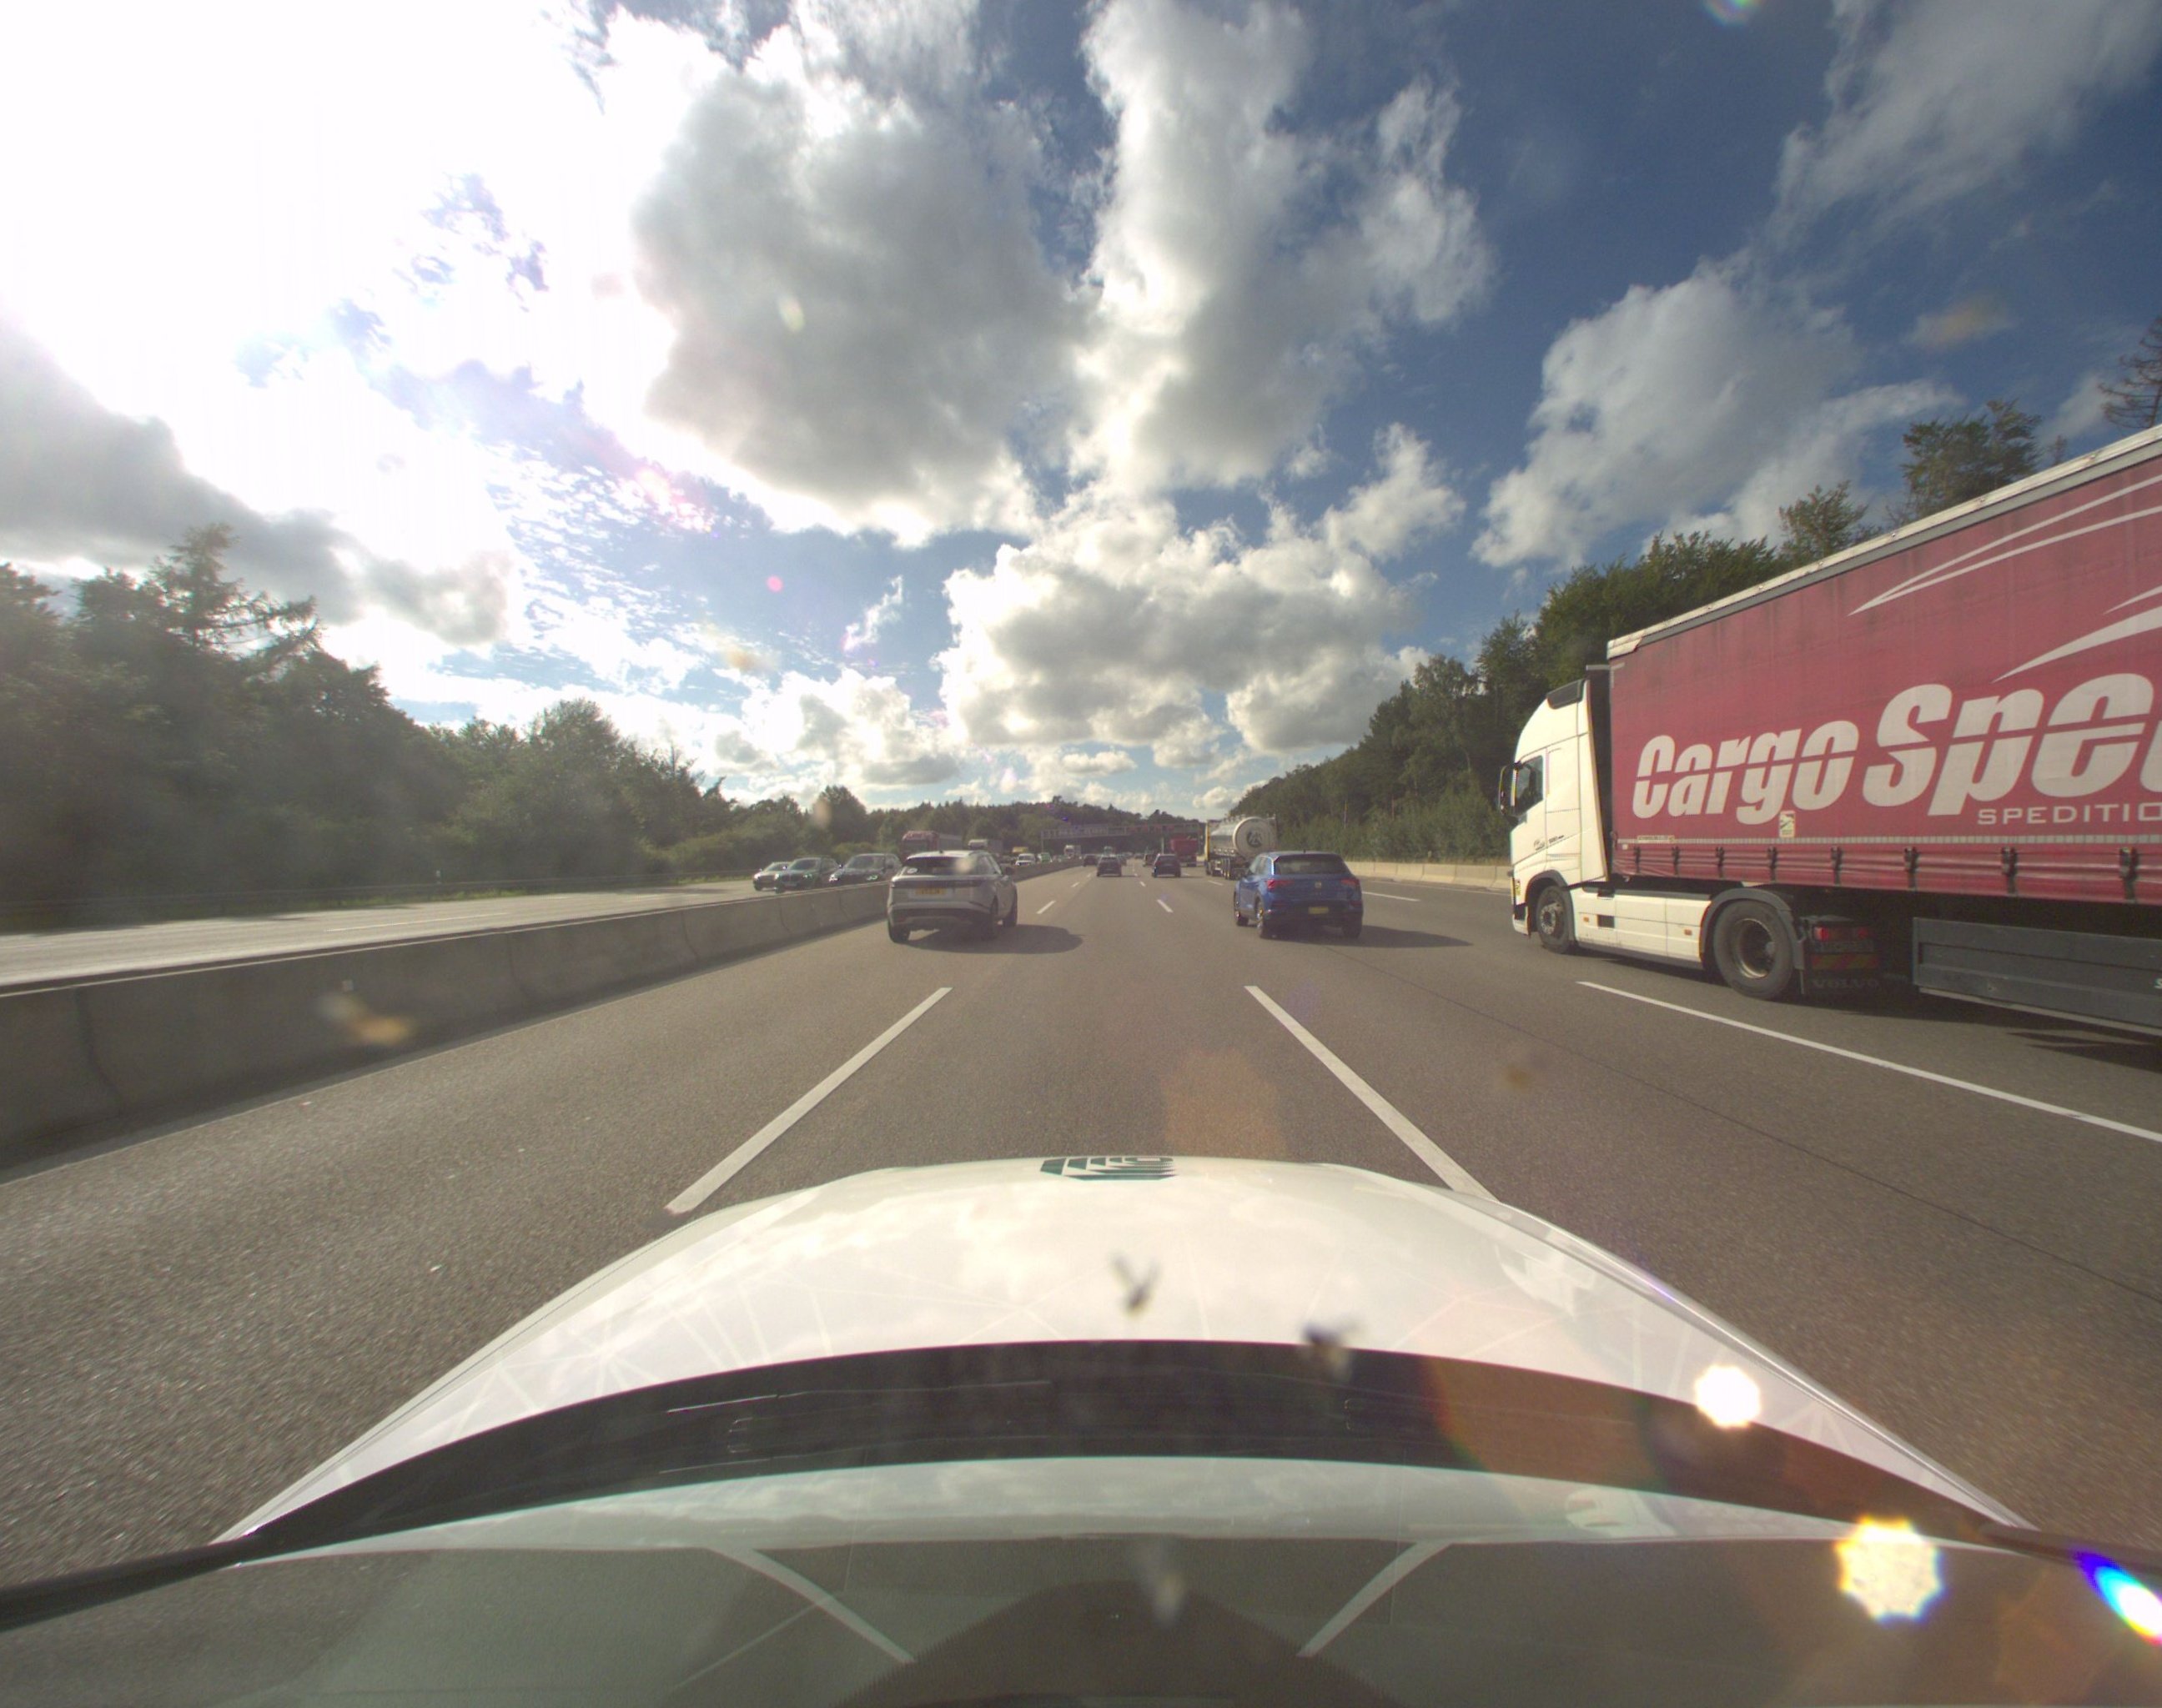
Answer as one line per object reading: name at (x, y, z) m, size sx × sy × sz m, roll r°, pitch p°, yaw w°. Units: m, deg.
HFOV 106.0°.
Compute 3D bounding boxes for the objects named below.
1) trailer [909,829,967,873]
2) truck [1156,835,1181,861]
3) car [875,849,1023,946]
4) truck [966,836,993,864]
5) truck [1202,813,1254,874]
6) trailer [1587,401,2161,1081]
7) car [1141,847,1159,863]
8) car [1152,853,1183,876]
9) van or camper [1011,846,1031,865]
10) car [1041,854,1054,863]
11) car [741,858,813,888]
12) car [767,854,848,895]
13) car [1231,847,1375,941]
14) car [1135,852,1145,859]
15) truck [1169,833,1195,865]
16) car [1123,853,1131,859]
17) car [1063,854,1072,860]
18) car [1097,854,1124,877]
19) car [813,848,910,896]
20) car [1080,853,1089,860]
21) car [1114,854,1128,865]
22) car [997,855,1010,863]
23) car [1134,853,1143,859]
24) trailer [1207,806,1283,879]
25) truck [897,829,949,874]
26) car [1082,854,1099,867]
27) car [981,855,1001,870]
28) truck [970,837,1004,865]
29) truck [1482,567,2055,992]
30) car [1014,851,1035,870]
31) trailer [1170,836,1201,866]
trailer at (-13.762, -0.278, 79.583) m, size 2.954 × 3.858 × 11.291 m, roll -1°, pitch 0°, yaw 3°
truck at (14.143, -0.928, 131.953) m, size 3.107 × 3.935 × 10.414 m, roll -1°, pitch 0°, yaw 1°
car at (-2.421, 0.728, 16.428) m, size 1.999 × 1.616 × 5.302 m, roll -1°, pitch 0°, yaw 1°
truck at (-15.236, -0.543, 122.583) m, size 2.807 × 4.094 × 6.068 m, roll -1°, pitch 0°, yaw 4°
truck at (9.868, -0.675, 55.236) m, size 2.638 × 3.823 × 6.086 m, roll -2°, pitch 0°, yaw 3°
trailer at (7.789, -0.687, 3.745) m, size 2.763 × 4.045 × 13.719 m, roll -1°, pitch 0°, yaw 2°
car at (8.150, 0.070, 96.104) m, size 1.887 × 1.856 × 4.101 m, roll 0°, pitch 0°, yaw 1°
car at (5.668, 0.669, 53.662) m, size 1.814 × 1.457 × 4.004 m, roll -1°, pitch 0°, yaw 3°
van or camper at (-9.893, 0.227, 133.885) m, size 2.364 × 2.891 × 6.511 m, roll -2°, pitch 0°, yaw 3°
car at (-5.730, 0.697, 138.964) m, size 1.776 × 1.470 × 4.335 m, roll -1°, pitch 0°, yaw 4°
car at (-15.995, 0.963, 43.056) m, size 1.820 × 1.414 × 4.678 m, roll -1°, pitch 0°, yaw 3°
car at (-12.215, 0.863, 36.724) m, size 1.987 × 1.664 × 4.688 m, roll -1°, pitch 0°, yaw 1°
car at (4.085, 0.665, 15.737) m, size 1.765 × 1.530 × 4.461 m, roll -1°, pitch 0°, yaw 3°
car at (12.544, 0.326, 173.297) m, size 1.935 × 1.457 × 4.000 m, roll -2°, pitch 0°, yaw 0°
truck at (12.022, -0.590, 97.257) m, size 2.698 × 3.718 × 5.823 m, roll -1°, pitch 0°, yaw 4°
car at (12.365, 0.636, 221.144) m, size 2.068 × 1.457 × 4.003 m, roll -2°, pitch 0°, yaw 3°
car at (-3.166, 0.648, 196.920) m, size 1.762 × 1.394 × 4.694 m, roll -1°, pitch 0°, yaw 3°
car at (2.083, 0.781, 57.286) m, size 1.815 × 1.546 × 4.002 m, roll -1°, pitch 0°, yaw 2°
car at (-8.608, 0.650, 32.537) m, size 2.146 × 1.700 × 5.354 m, roll -1°, pitch 0°, yaw 3°
car at (0.906, 0.475, 188.157) m, size 1.855 × 1.552 × 4.666 m, roll -1°, pitch 0°, yaw 3°
car at (5.311, 0.738, 107.818) m, size 1.815 × 1.457 × 4.003 m, roll -1°, pitch -1°, yaw 3°
car at (-13.829, 0.872, 145.387) m, size 1.689 × 1.470 × 4.026 m, roll -1°, pitch 0°, yaw 4°
car at (14.854, 0.532, 211.745) m, size 2.070 × 1.457 × 4.000 m, roll -2°, pitch 0°, yaw 0°
trailer at (9.622, -0.622, 49.273) m, size 2.638 × 3.767 × 11.868 m, roll -2°, pitch 0°, yaw 3°
truck at (-14.155, -0.220, 73.508) m, size 2.954 × 3.858 × 6.771 m, roll -1°, pitch 0°, yaw 3°
car at (1.256, 0.840, 104.821) m, size 1.933 × 1.457 × 4.005 m, roll -2°, pitch 0°, yaw 4°
car at (-11.815, 1.064, 107.615) m, size 1.839 × 1.940 × 5.037 m, roll -1°, pitch 0°, yaw 3°
truck at (-14.760, -0.491, 129.222) m, size 2.807 × 4.094 × 13.859 m, roll -1°, pitch 0°, yaw 4°
truck at (8.038, -0.722, 10.740) m, size 2.763 × 4.045 × 5.776 m, roll -1°, pitch 0°, yaw 2°
car at (-6.158, 0.694, 89.329) m, size 1.842 × 1.878 × 4.616 m, roll -2°, pitch 0°, yaw 1°
trailer at (11.752, -0.366, 92.341) m, size 2.699 × 3.231 × 9.740 m, roll -1°, pitch 1°, yaw 3°
